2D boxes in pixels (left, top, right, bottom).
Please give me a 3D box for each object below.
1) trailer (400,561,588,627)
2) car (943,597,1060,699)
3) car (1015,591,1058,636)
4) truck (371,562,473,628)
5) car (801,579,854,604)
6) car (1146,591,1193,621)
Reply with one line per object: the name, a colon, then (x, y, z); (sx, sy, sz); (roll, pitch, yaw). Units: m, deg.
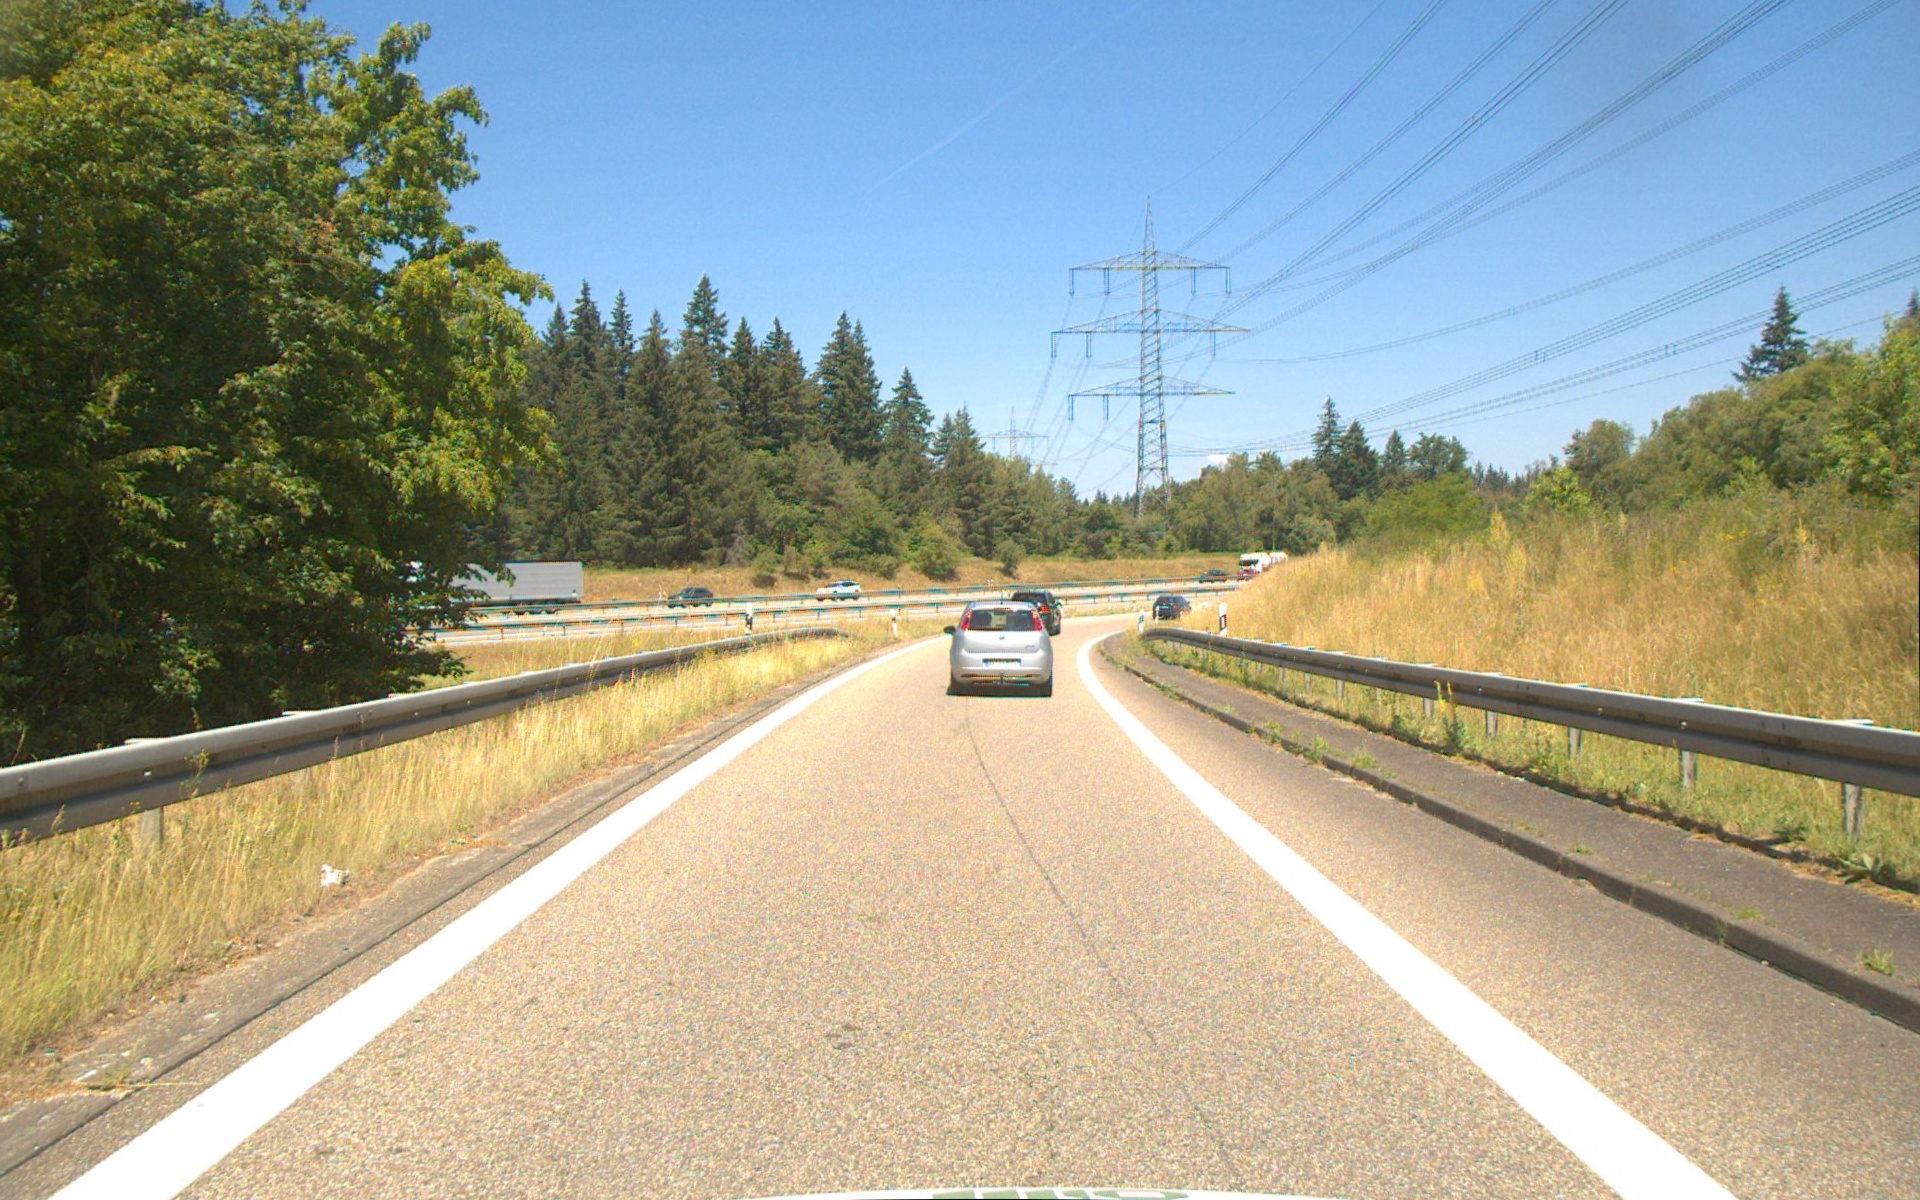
trailer: (-34.016, -0.522, 121.639); (2.878, 4.464, 14.230); (-2, 0, 38)
car: (0.633, 0.741, 27.265); (1.672, 1.507, 3.396); (1, 1, -3)
car: (3.072, 0.513, 66.111); (1.670, 1.705, 3.399); (0, 1, 3)
truck: (-37.918, -0.381, 116.711); (2.892, 4.469, 6.243); (-2, 0, 38)
car: (-11.087, -0.727, 138.499); (1.962, 1.880, 4.339); (0, 3, 38)
car: (12.880, 0.355, 101.452); (1.843, 1.713, 4.000); (-3, 0, 21)
